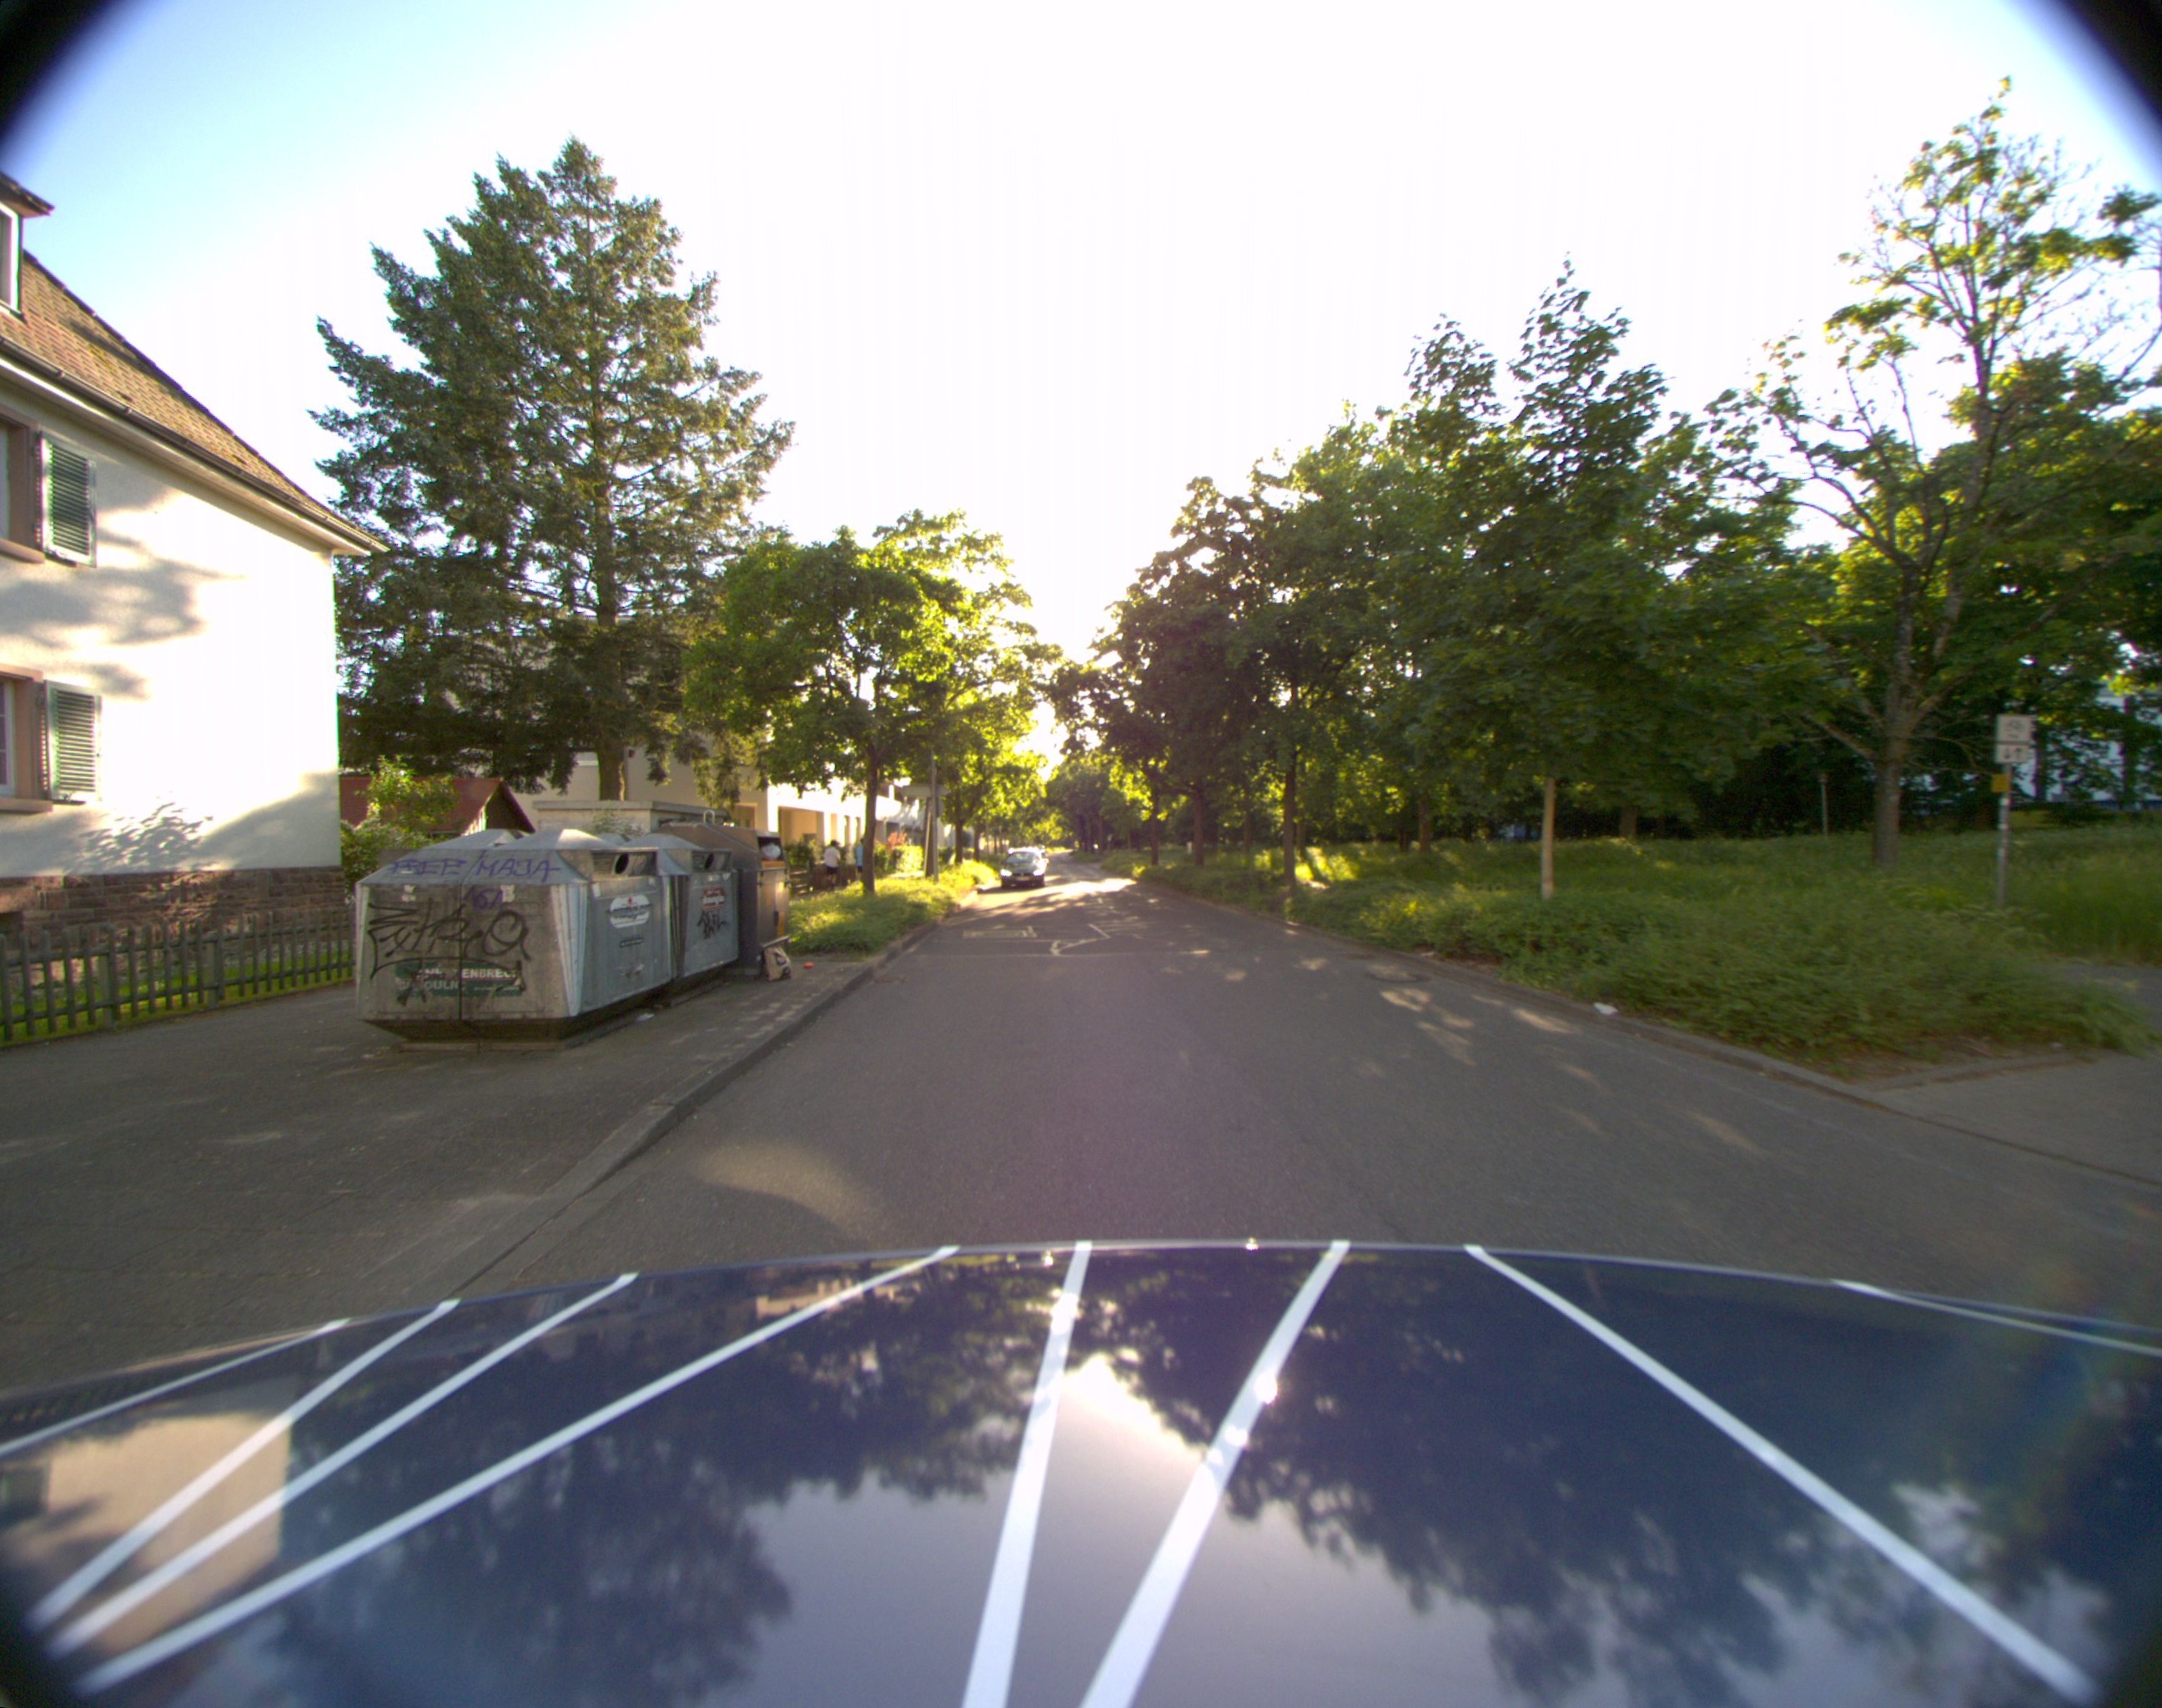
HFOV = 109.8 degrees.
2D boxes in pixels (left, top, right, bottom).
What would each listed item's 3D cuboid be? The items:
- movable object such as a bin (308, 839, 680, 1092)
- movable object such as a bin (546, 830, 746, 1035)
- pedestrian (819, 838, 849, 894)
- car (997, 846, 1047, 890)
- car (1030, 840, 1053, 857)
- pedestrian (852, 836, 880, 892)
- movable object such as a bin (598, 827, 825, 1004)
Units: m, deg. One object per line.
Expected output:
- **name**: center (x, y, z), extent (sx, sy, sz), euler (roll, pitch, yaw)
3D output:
- **movable object such as a bin**: center (-4.405, 0.739, 5.986), extent (1.590, 1.648, 1.639), euler (-2, 2, -4)
- **movable object such as a bin**: center (-4.228, 0.695, 7.561), extent (1.150, 1.817, 1.385), euler (-2, 2, -4)
- **pedestrian**: center (-8.608, 0.390, 26.502), extent (0.644, 1.883, 1.018), euler (-2, 2, -3)
- **car**: center (-2.506, 0.515, 32.205), extent (1.890, 1.613, 4.615), euler (-2, 1, -5)
- **car**: center (-3.844, -0.532, 74.530), extent (1.999, 1.531, 3.998), euler (-2, 1, -1)
- **pedestrian**: center (-7.468, 0.329, 26.408), extent (0.674, 1.883, 0.895), euler (-2, 2, -3)
- **movable object such as a bin**: center (-4.244, 0.651, 8.967), extent (1.926, 1.843, 1.393), euler (-2, 2, -4)
